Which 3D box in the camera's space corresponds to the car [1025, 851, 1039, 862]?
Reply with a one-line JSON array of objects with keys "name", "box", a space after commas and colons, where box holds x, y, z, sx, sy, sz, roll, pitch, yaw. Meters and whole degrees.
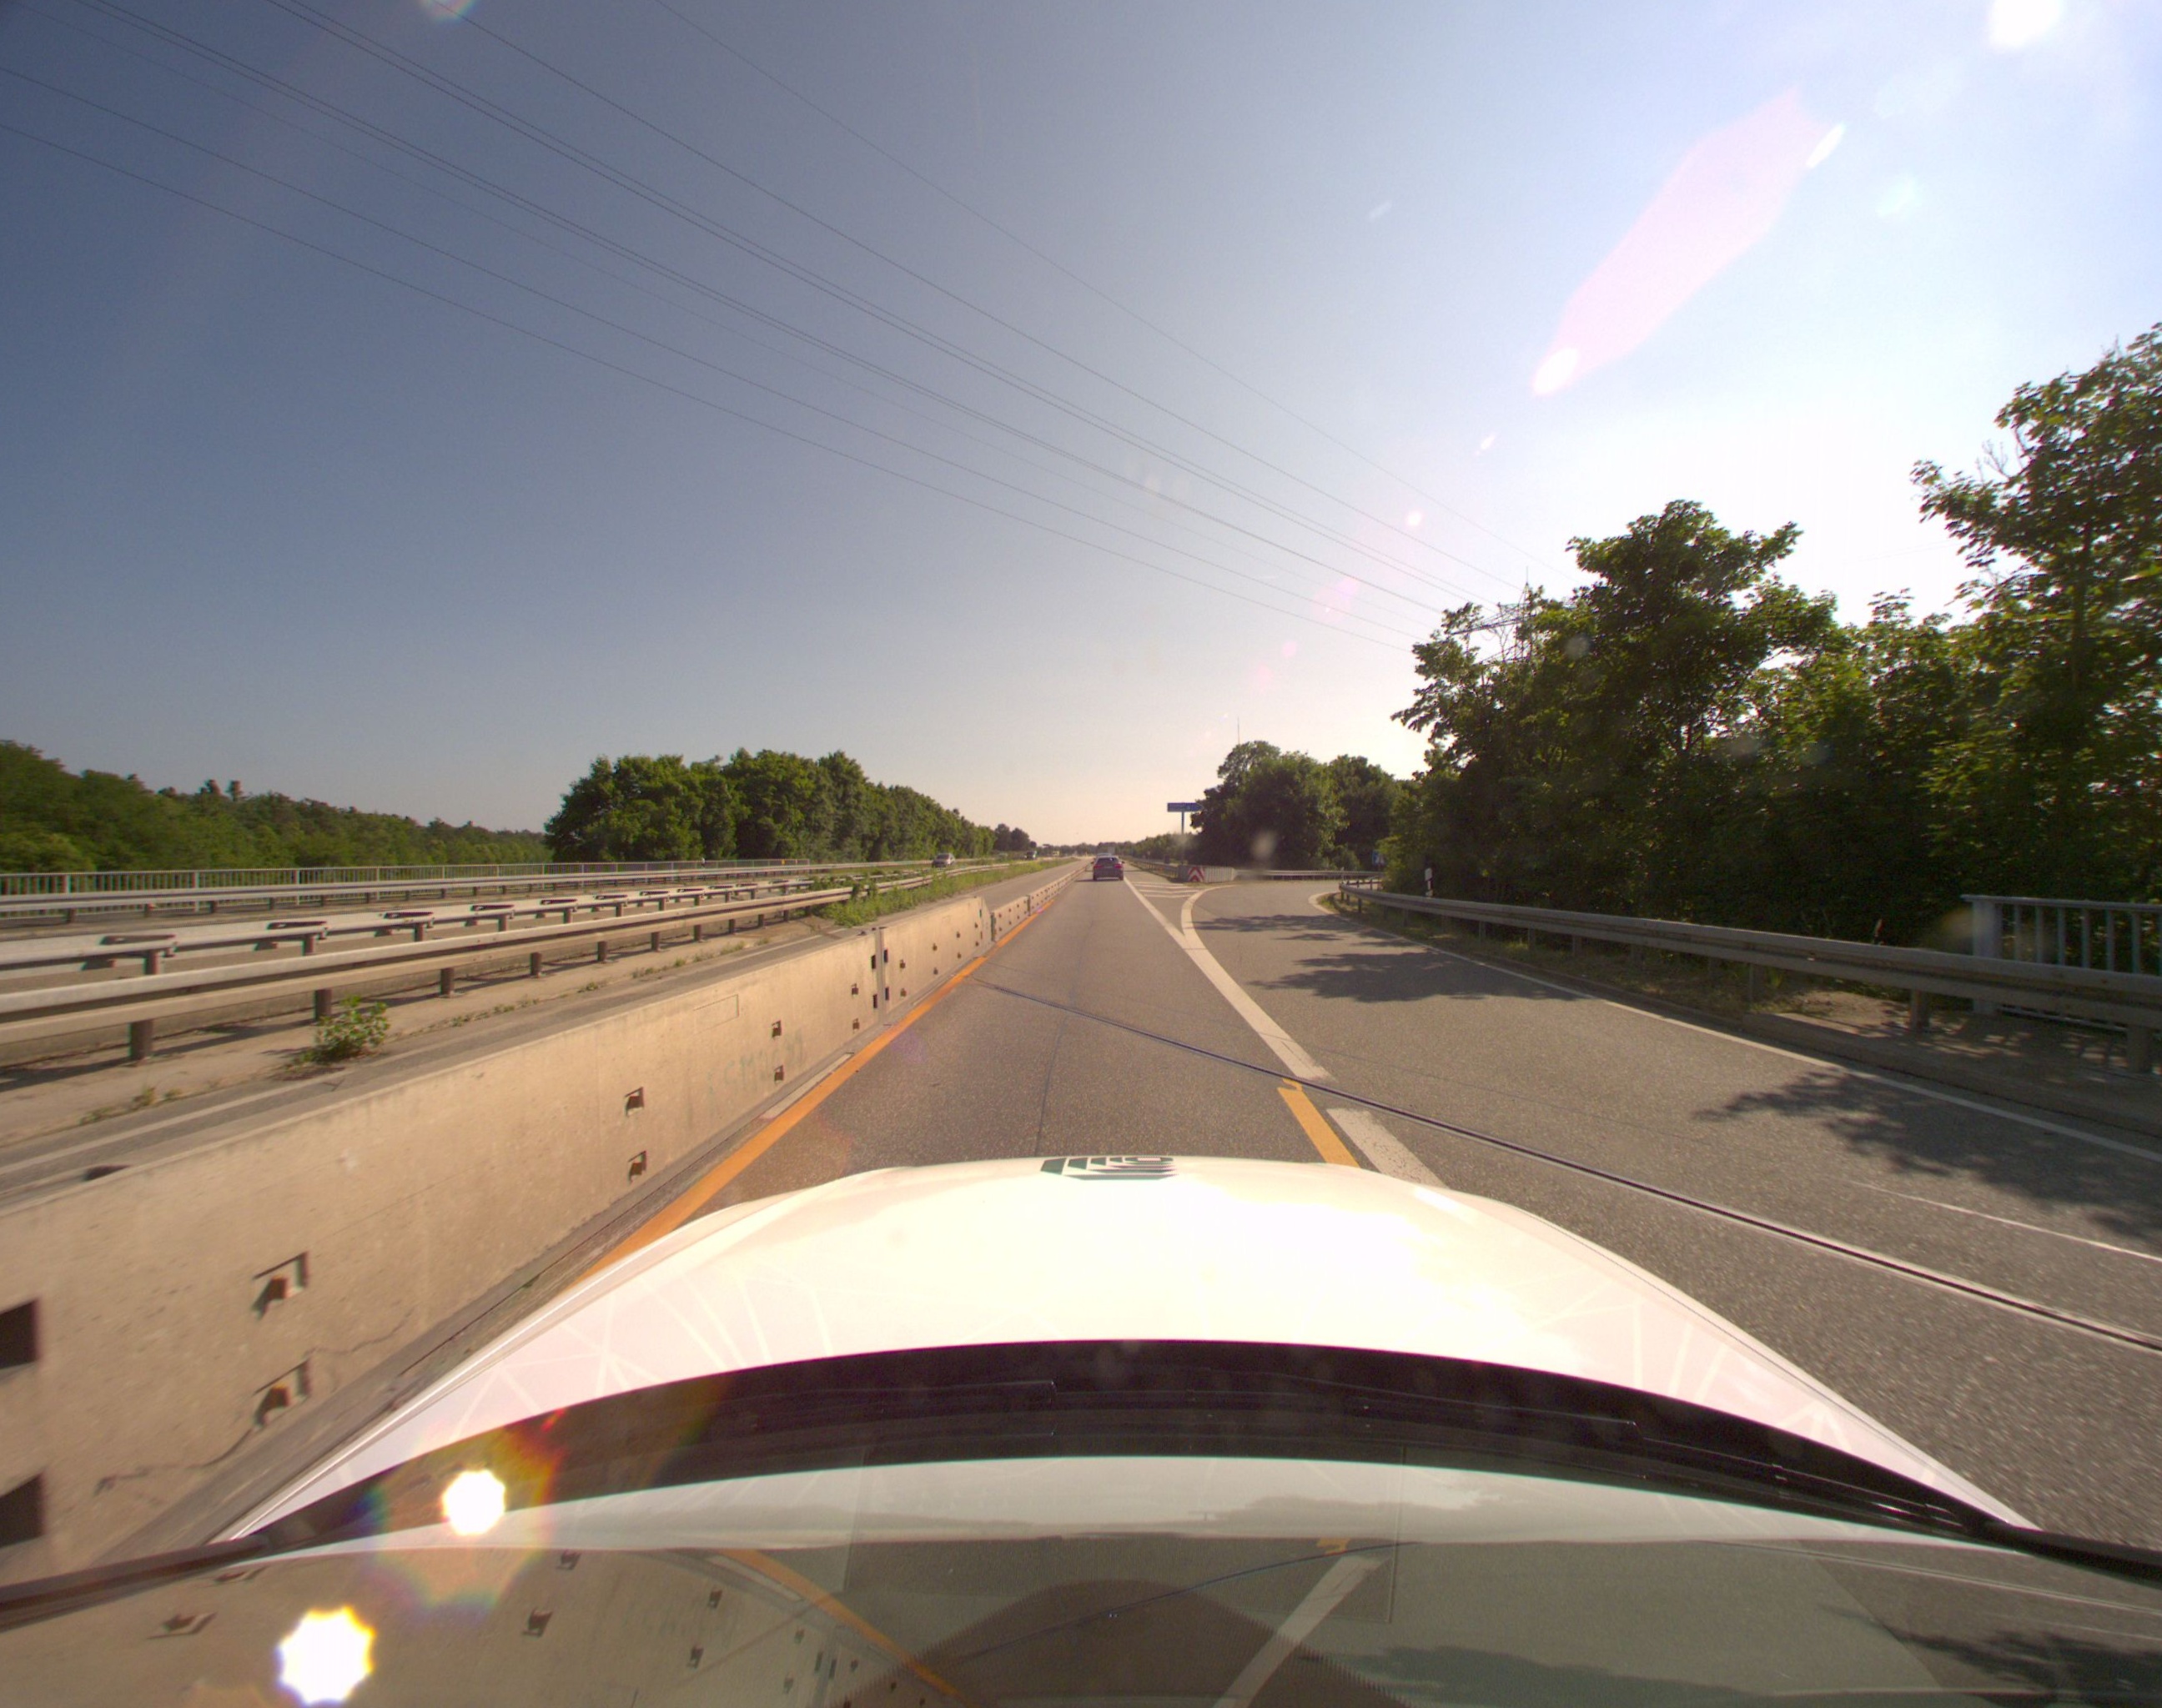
[{"name": "car", "box": [-8.877, 0.450, 148.405, 1.986, 2.034, 5.170, -1, 0, 2]}]

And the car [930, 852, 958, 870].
[{"name": "car", "box": [-12.990, 0.641, 77.303, 1.756, 1.583, 4.424, -1, 0, 2]}]

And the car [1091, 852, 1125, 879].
[{"name": "car", "box": [1.533, 0.659, 48.011, 1.914, 1.494, 4.000, 0, 0, 0]}]

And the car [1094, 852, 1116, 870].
[{"name": "car", "box": [2.230, 0.589, 75.047, 1.986, 1.567, 4.002, -1, 0, 2]}]
